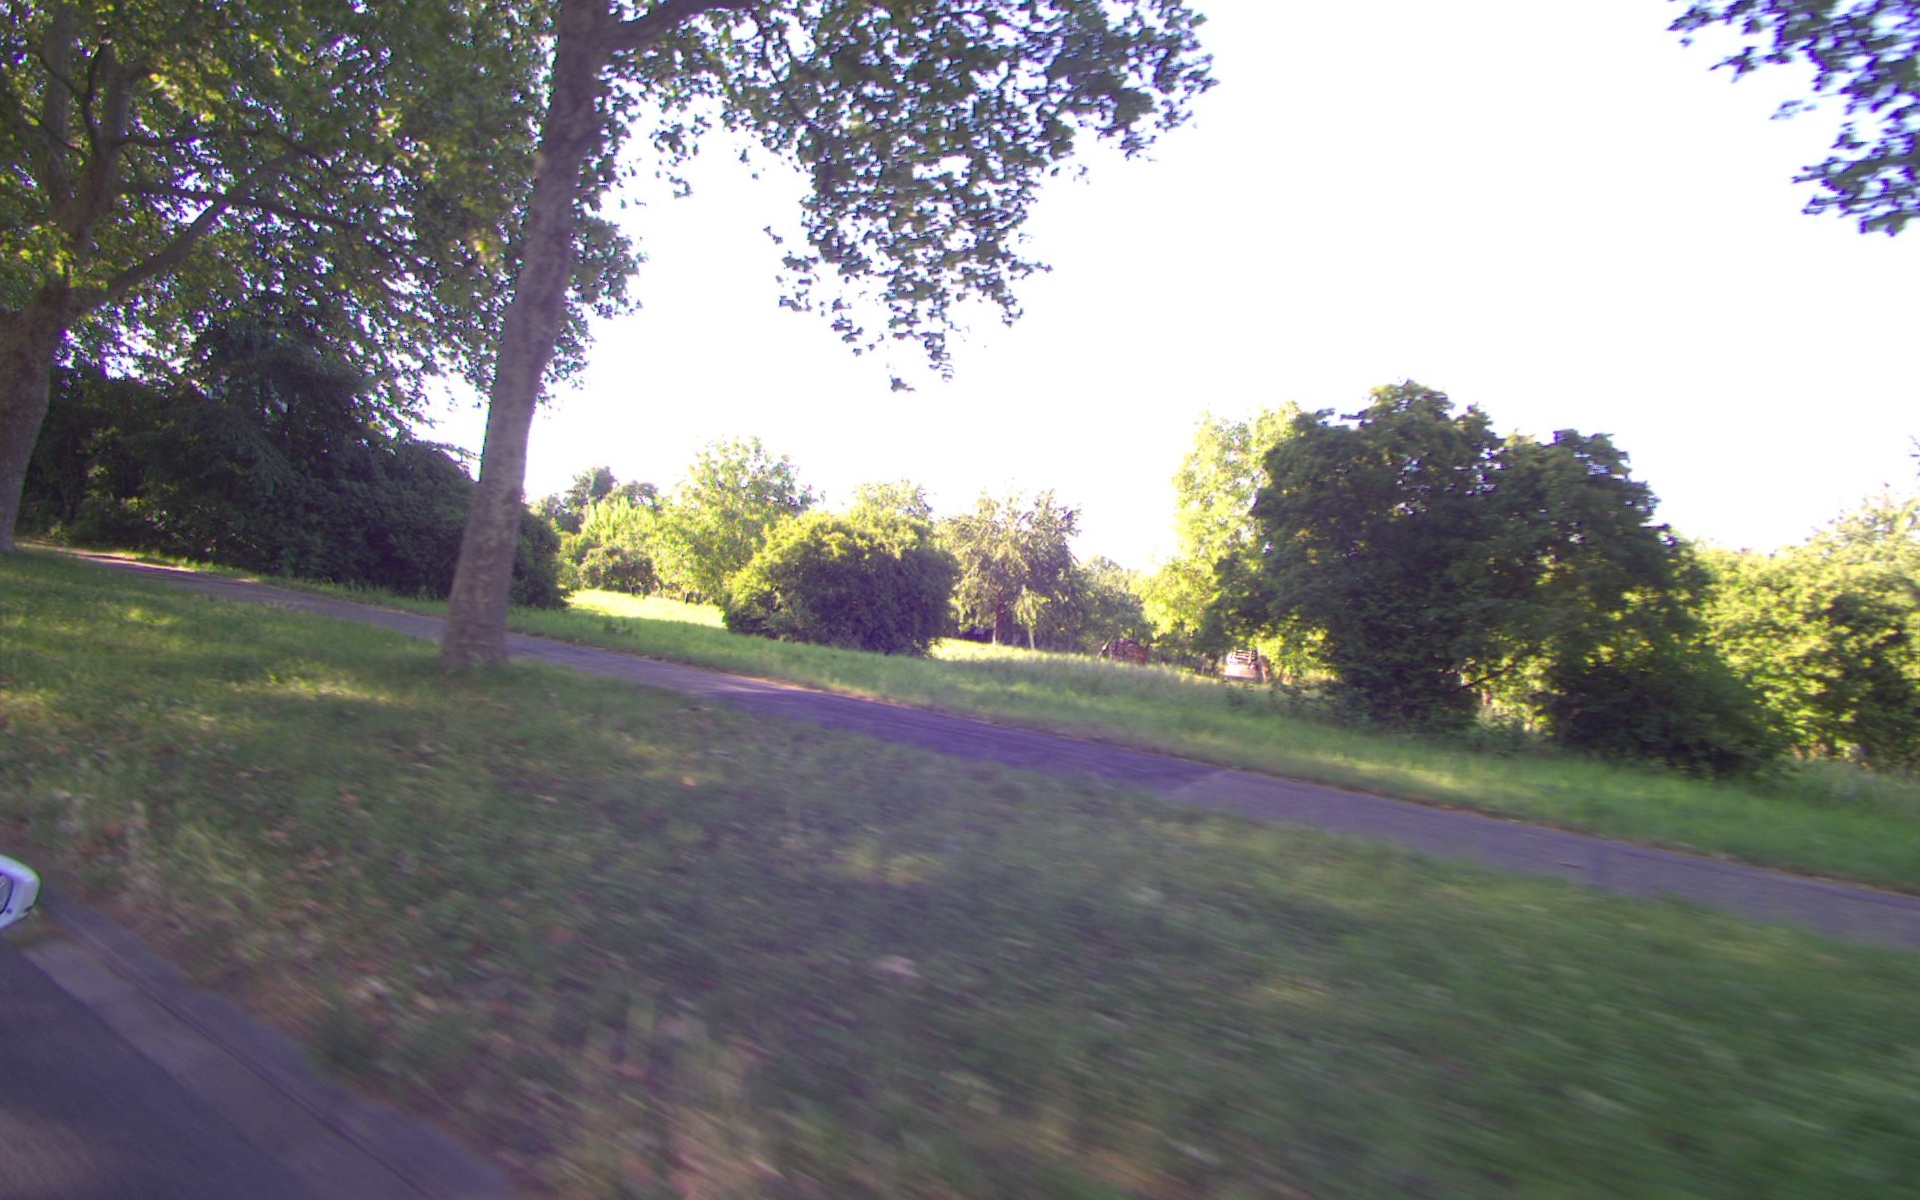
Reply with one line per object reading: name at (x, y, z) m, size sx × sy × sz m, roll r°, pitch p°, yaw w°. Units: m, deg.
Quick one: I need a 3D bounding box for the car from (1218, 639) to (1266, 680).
car at (15.509, 3.281, 55.502) m, size 1.897 × 1.970 × 4.006 m, roll 6°, pitch -3°, yaw 9°
